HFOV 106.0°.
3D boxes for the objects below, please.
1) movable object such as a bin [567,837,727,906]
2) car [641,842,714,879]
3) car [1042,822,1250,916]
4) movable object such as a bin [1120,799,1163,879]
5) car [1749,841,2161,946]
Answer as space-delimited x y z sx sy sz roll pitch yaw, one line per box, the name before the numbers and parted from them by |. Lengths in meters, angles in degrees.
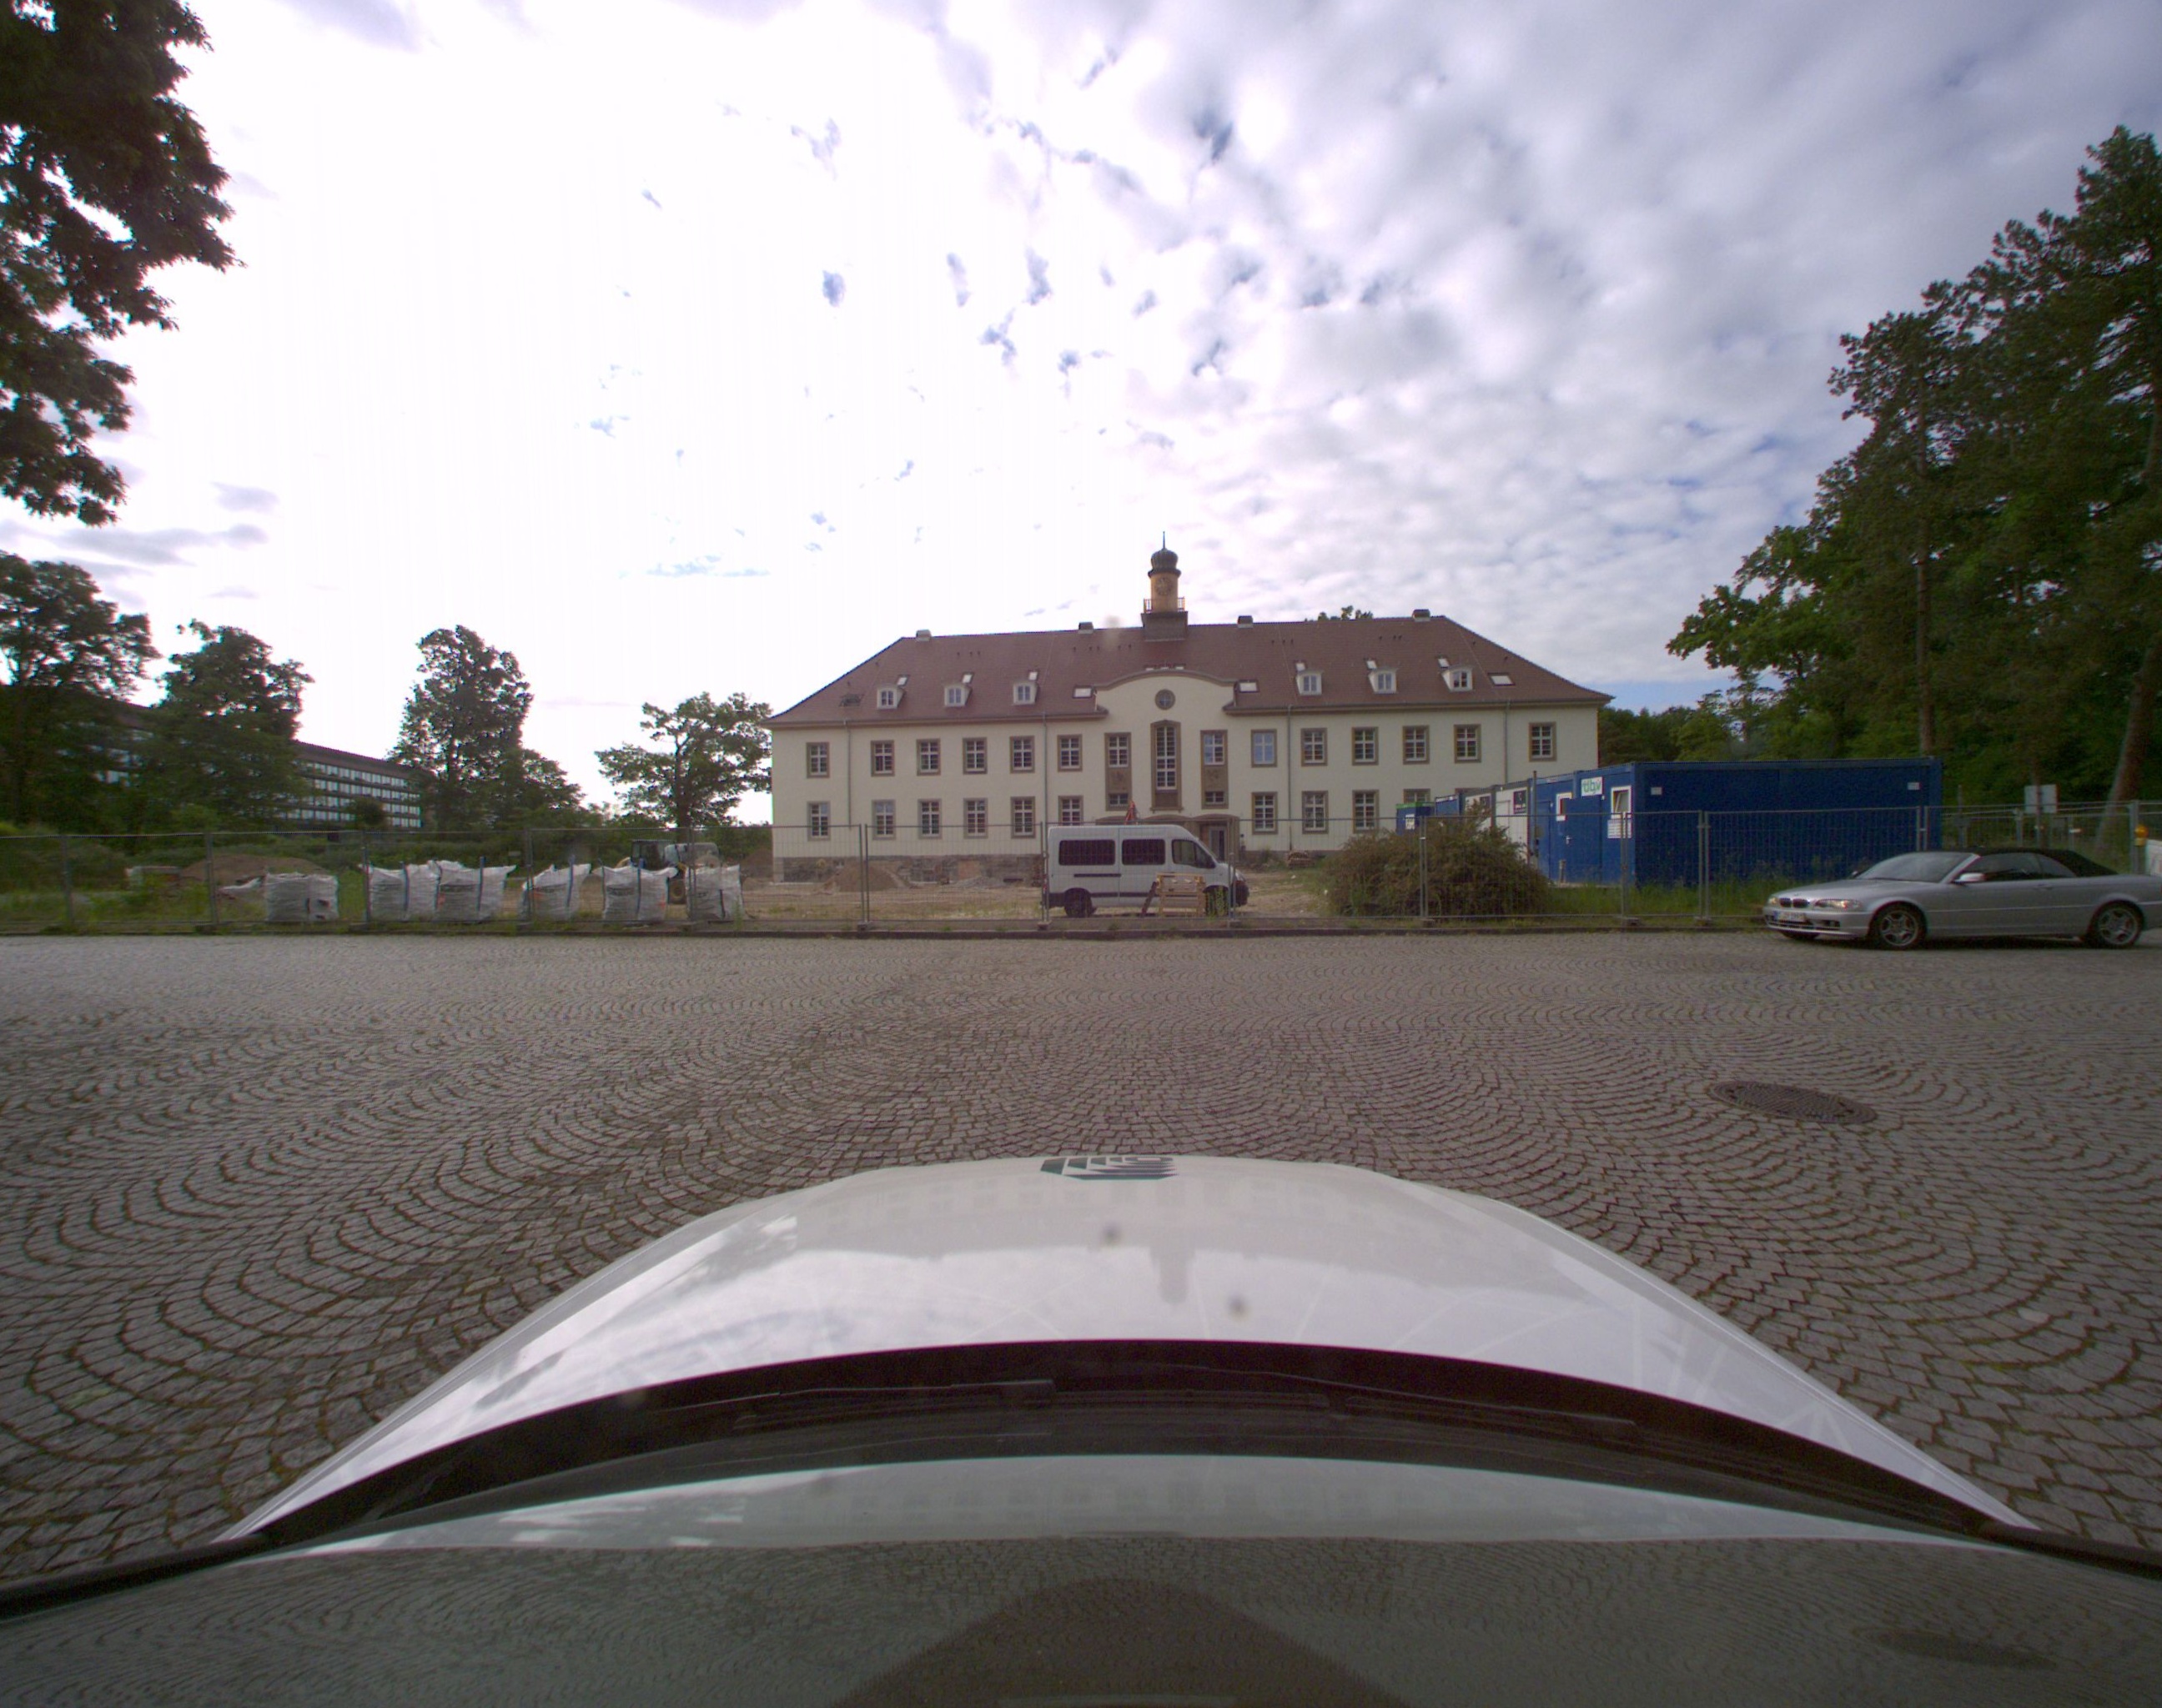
movable object such as a bin | -17.155 0.675 32.340 5.305 2.556 2.002 -1 0 4
car | -25.104 0.388 50.894 2.061 2.150 4.898 -1 0 0
car | 1.744 0.393 21.653 5.234 2.344 1.914 -1 0 7
movable object such as a bin | 2.978 -0.728 41.313 1.985 3.771 5.321 -1 0 3
car | 12.336 0.544 11.577 4.262 1.346 1.608 -1 -1 3
